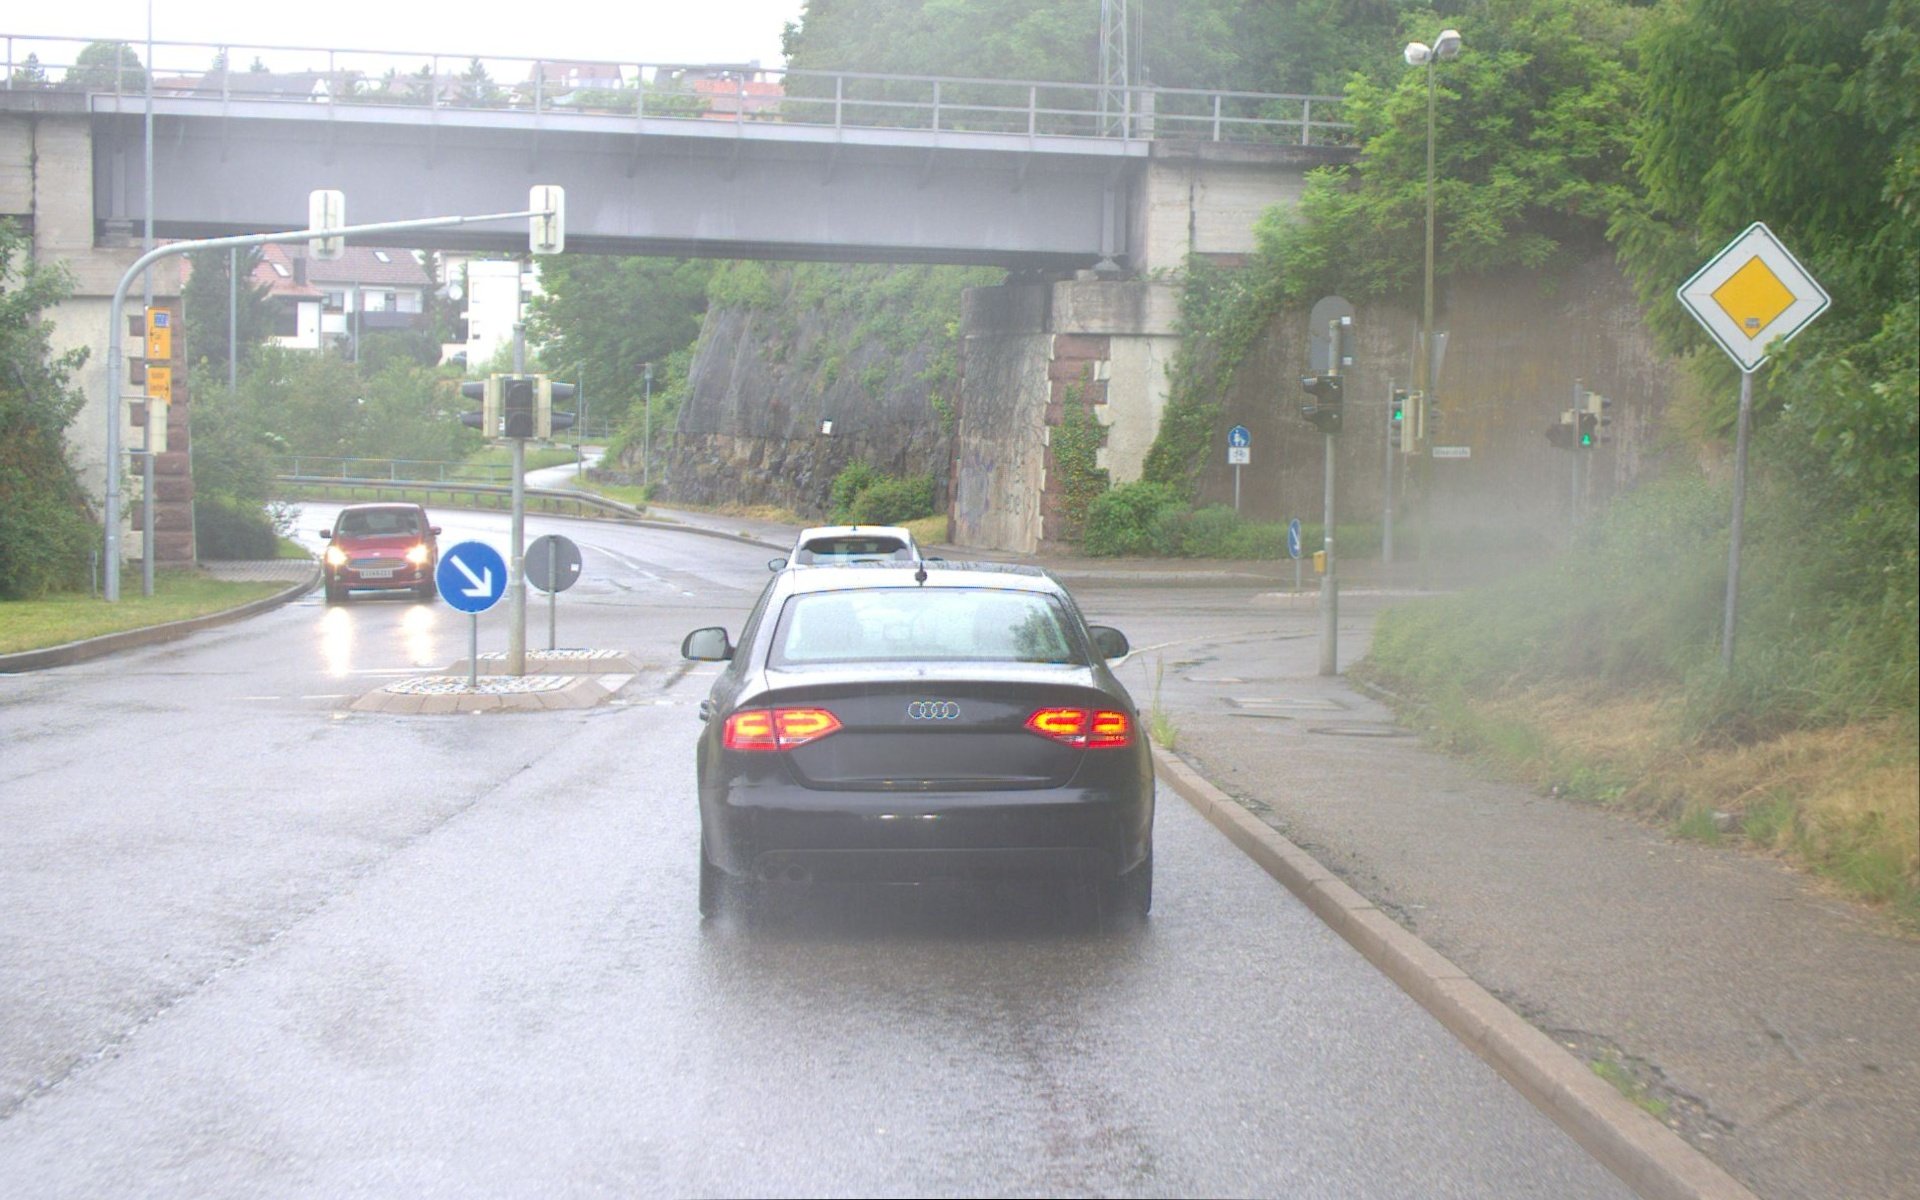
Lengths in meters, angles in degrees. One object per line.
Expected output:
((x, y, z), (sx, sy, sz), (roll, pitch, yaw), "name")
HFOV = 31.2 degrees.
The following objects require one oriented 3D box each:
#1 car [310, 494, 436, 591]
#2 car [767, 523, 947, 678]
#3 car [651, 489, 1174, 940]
((-10.297, -1.014, 60.542), (1.993, 1.622, 4.001), (-1, 1, -7), "car")
((-1.078, 0.004, 36.927), (1.823, 1.579, 4.000), (0, 0, -1), "car")
((-0.198, 0.408, 14.313), (1.870, 1.611, 4.000), (0, 0, -1), "car")
